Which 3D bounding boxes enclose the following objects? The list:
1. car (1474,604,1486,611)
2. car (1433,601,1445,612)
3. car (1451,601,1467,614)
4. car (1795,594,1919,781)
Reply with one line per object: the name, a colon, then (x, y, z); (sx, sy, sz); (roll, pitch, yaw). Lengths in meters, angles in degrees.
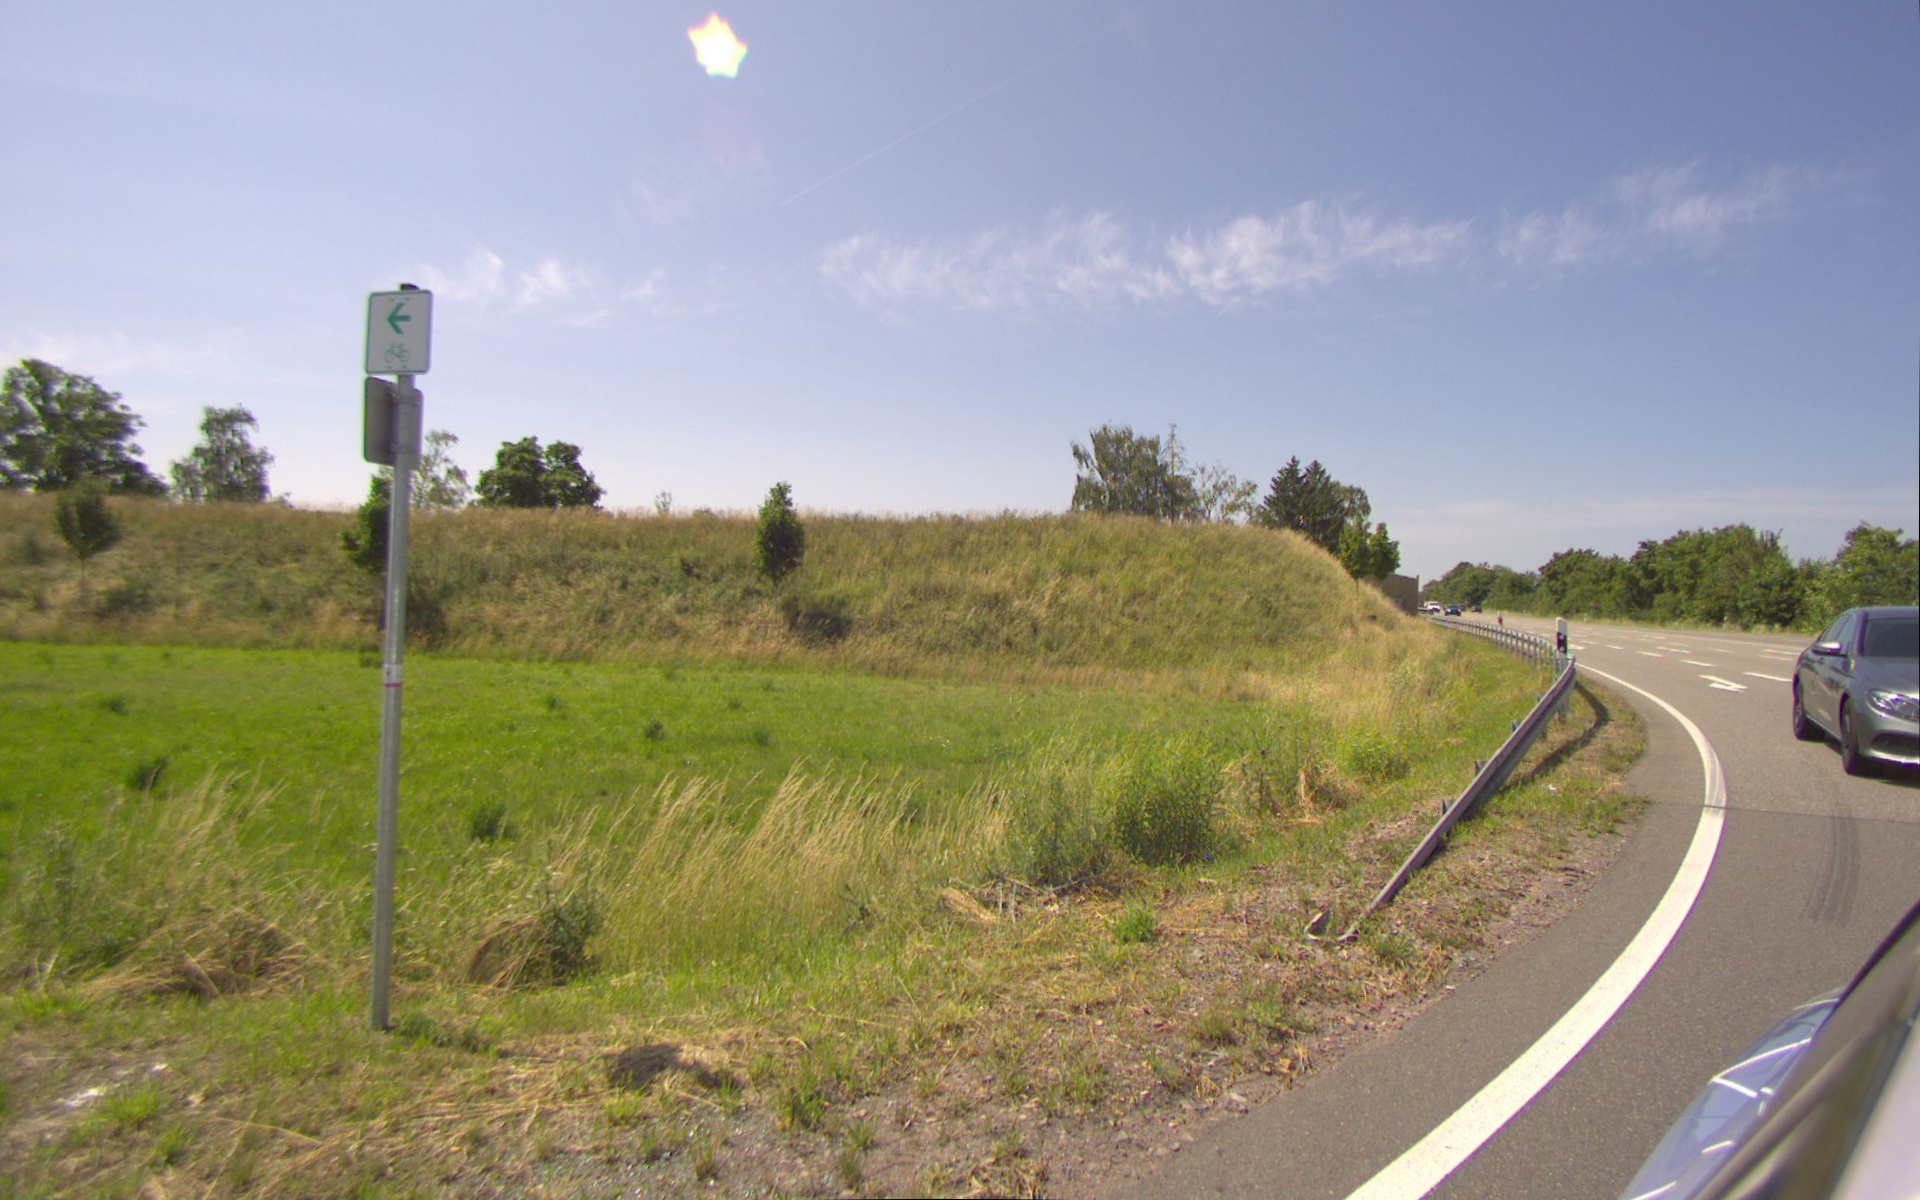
car: (108.813, 1.513, 211.892); (1.862, 1.416, 4.498); (0, 0, 22)
car: (84.261, 1.151, 178.072); (1.783, 1.705, 3.967); (0, 1, 24)
car: (68.233, 1.052, 138.438); (1.783, 1.705, 3.967); (0, 1, 24)
car: (9.276, 0.679, 9.433); (1.882, 1.465, 4.470); (0, 0, 34)
